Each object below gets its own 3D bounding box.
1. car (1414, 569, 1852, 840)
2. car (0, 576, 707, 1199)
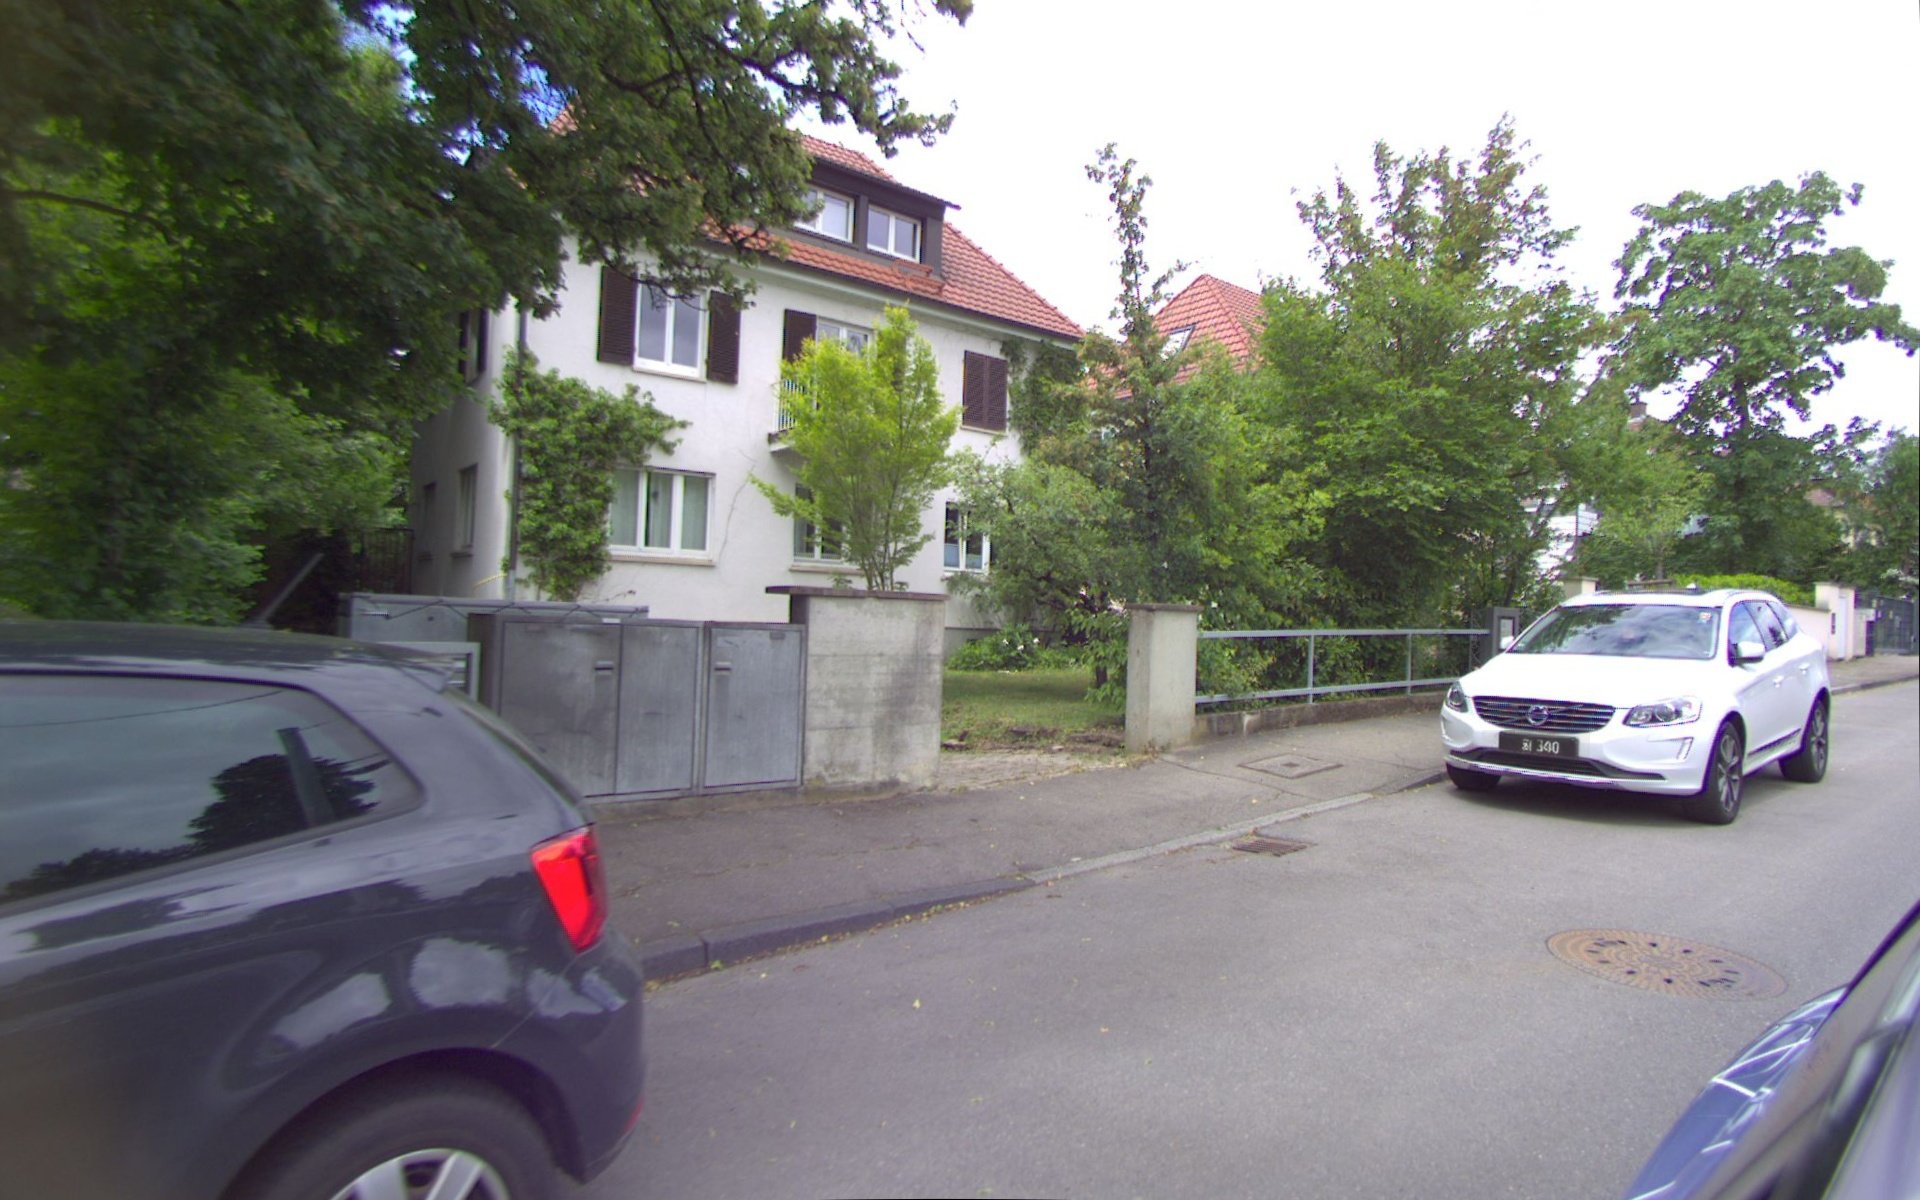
[{"bbox_3d":[5.765,0.663,8.473,4.271,1.706,1.869,0,0,-39],"label":"car"},{"bbox_3d":[-2.495,0.715,1.584,3.725,1.506,1.712,0,0,-42],"label":"car"}]
